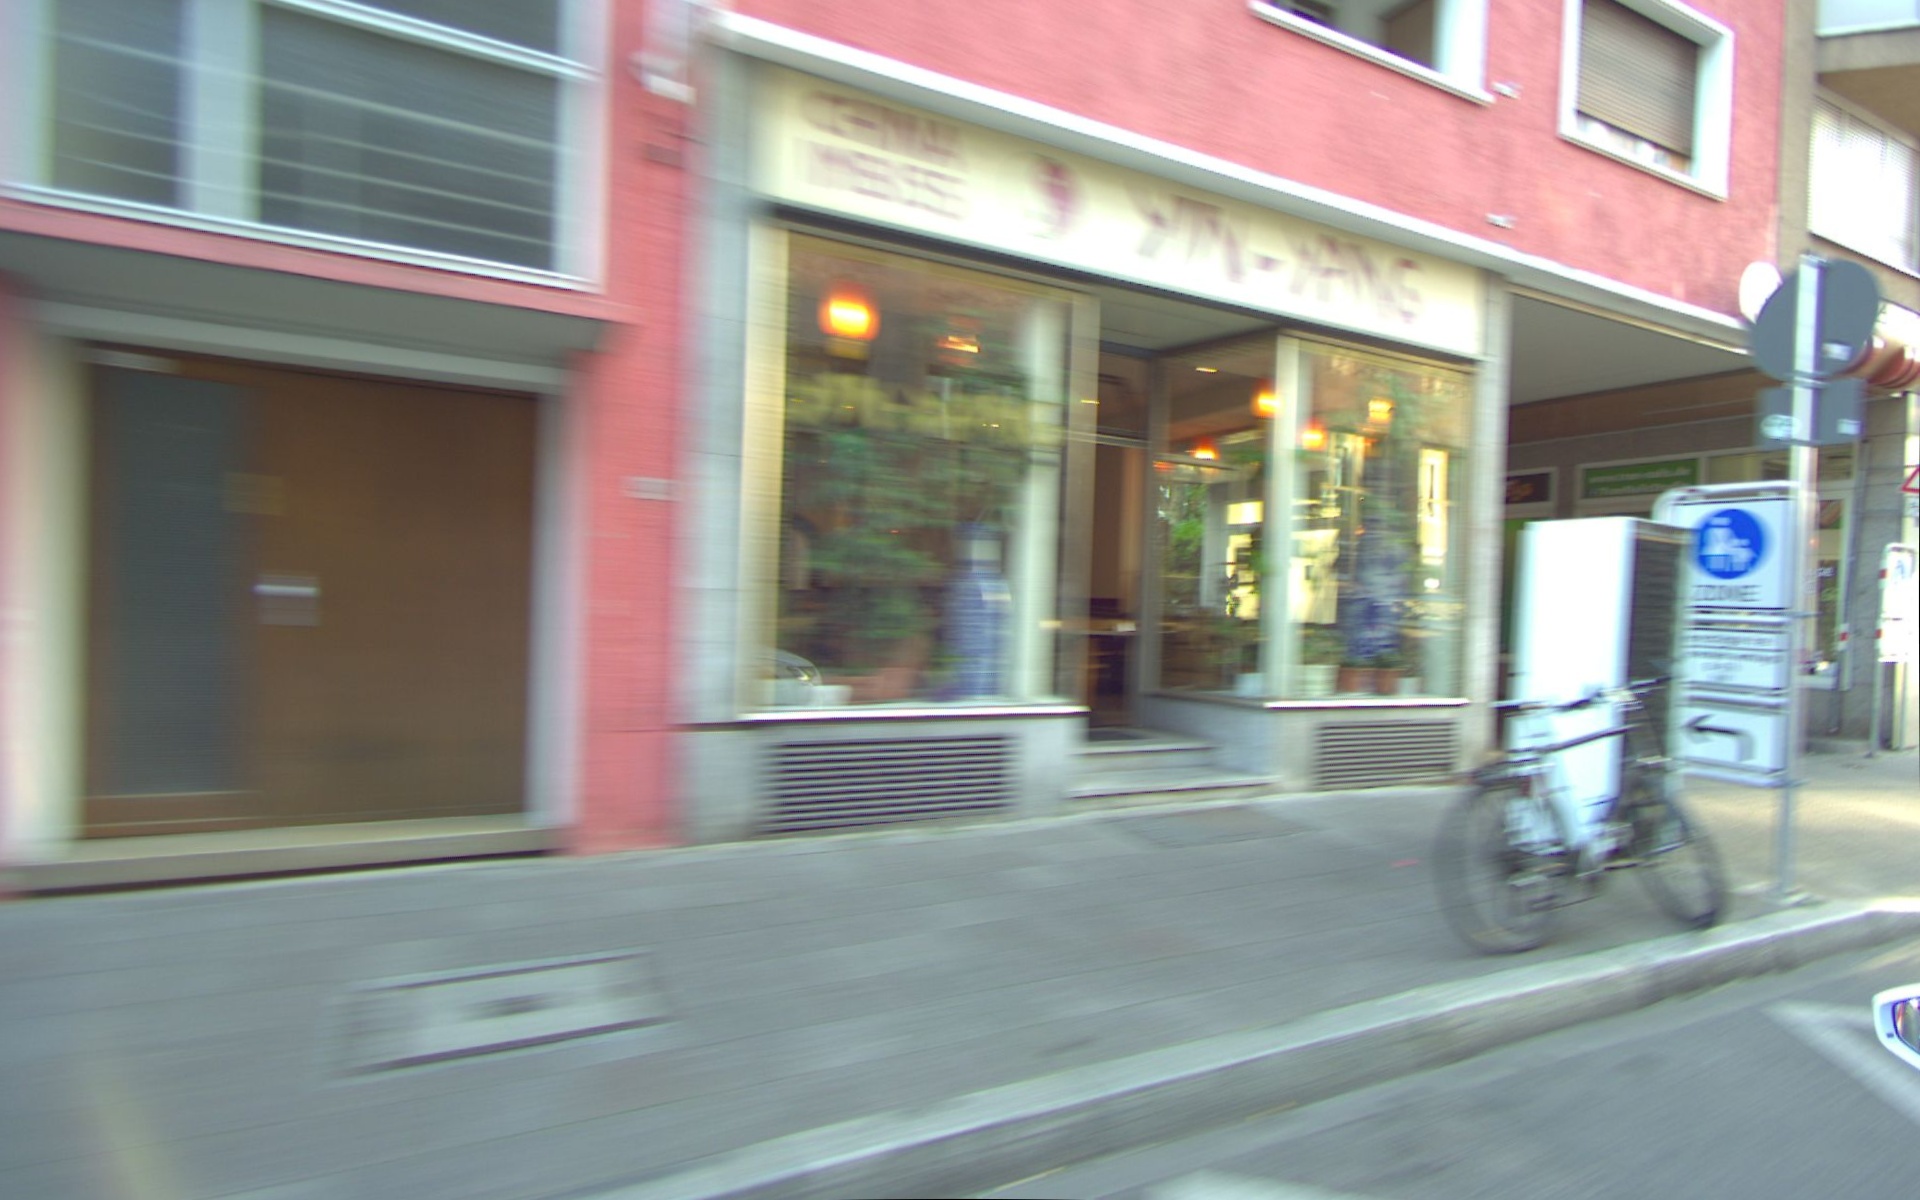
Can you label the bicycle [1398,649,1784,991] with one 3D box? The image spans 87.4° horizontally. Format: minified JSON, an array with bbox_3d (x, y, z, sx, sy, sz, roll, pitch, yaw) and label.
[{"bbox_3d":[2.747,0.832,4.317,1.819,1.208,0.541,1,1,-28],"label":"bicycle"}]
